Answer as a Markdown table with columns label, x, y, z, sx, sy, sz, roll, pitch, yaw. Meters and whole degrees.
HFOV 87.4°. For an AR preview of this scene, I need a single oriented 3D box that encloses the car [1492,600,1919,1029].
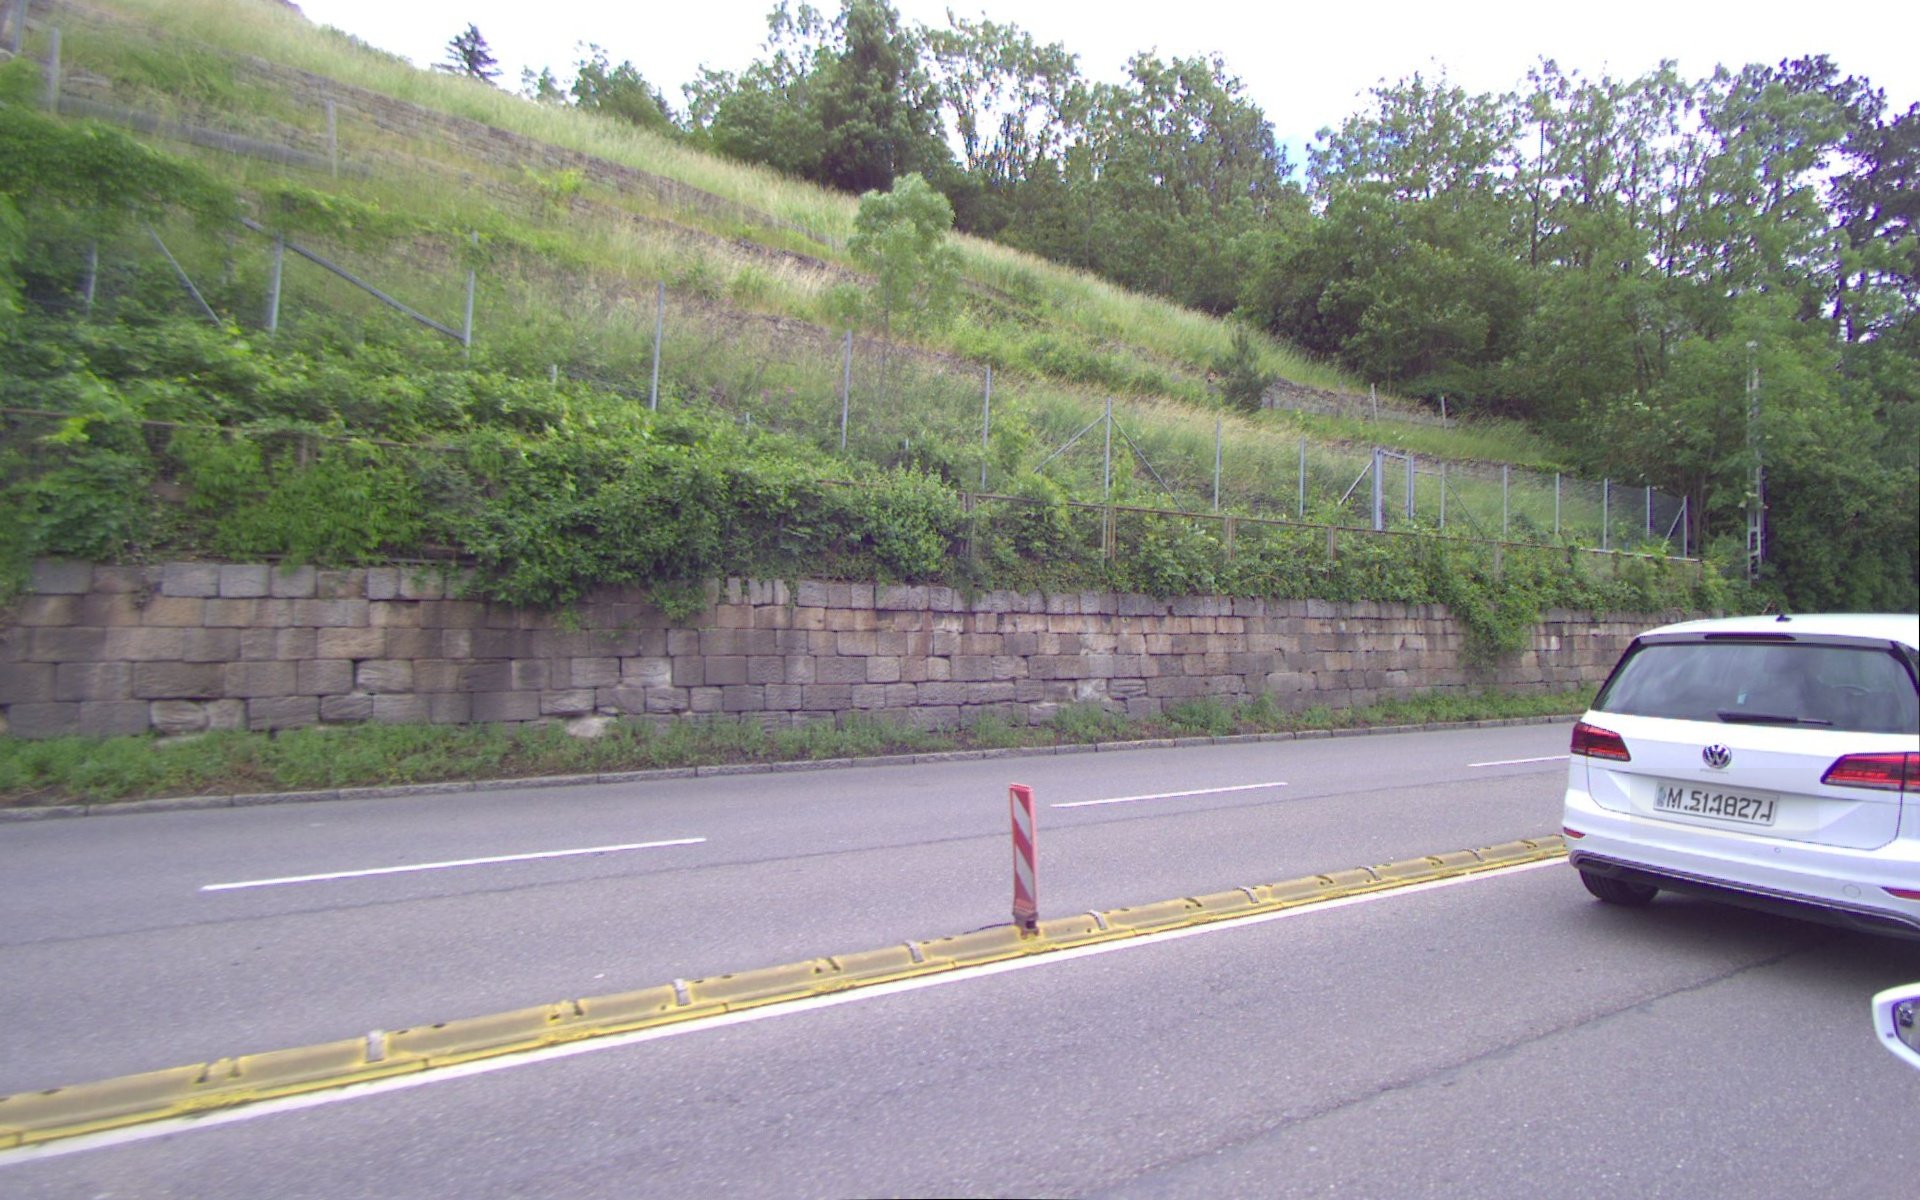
| label | x | y | z | sx | sy | sz | roll | pitch | yaw |
| --- | --- | --- | --- | --- | --- | --- | --- | --- | --- |
| car | 5.103 | 0.885 | 5.511 | 4.302 | 1.601 | 1.814 | 2 | -2 | -29 |
